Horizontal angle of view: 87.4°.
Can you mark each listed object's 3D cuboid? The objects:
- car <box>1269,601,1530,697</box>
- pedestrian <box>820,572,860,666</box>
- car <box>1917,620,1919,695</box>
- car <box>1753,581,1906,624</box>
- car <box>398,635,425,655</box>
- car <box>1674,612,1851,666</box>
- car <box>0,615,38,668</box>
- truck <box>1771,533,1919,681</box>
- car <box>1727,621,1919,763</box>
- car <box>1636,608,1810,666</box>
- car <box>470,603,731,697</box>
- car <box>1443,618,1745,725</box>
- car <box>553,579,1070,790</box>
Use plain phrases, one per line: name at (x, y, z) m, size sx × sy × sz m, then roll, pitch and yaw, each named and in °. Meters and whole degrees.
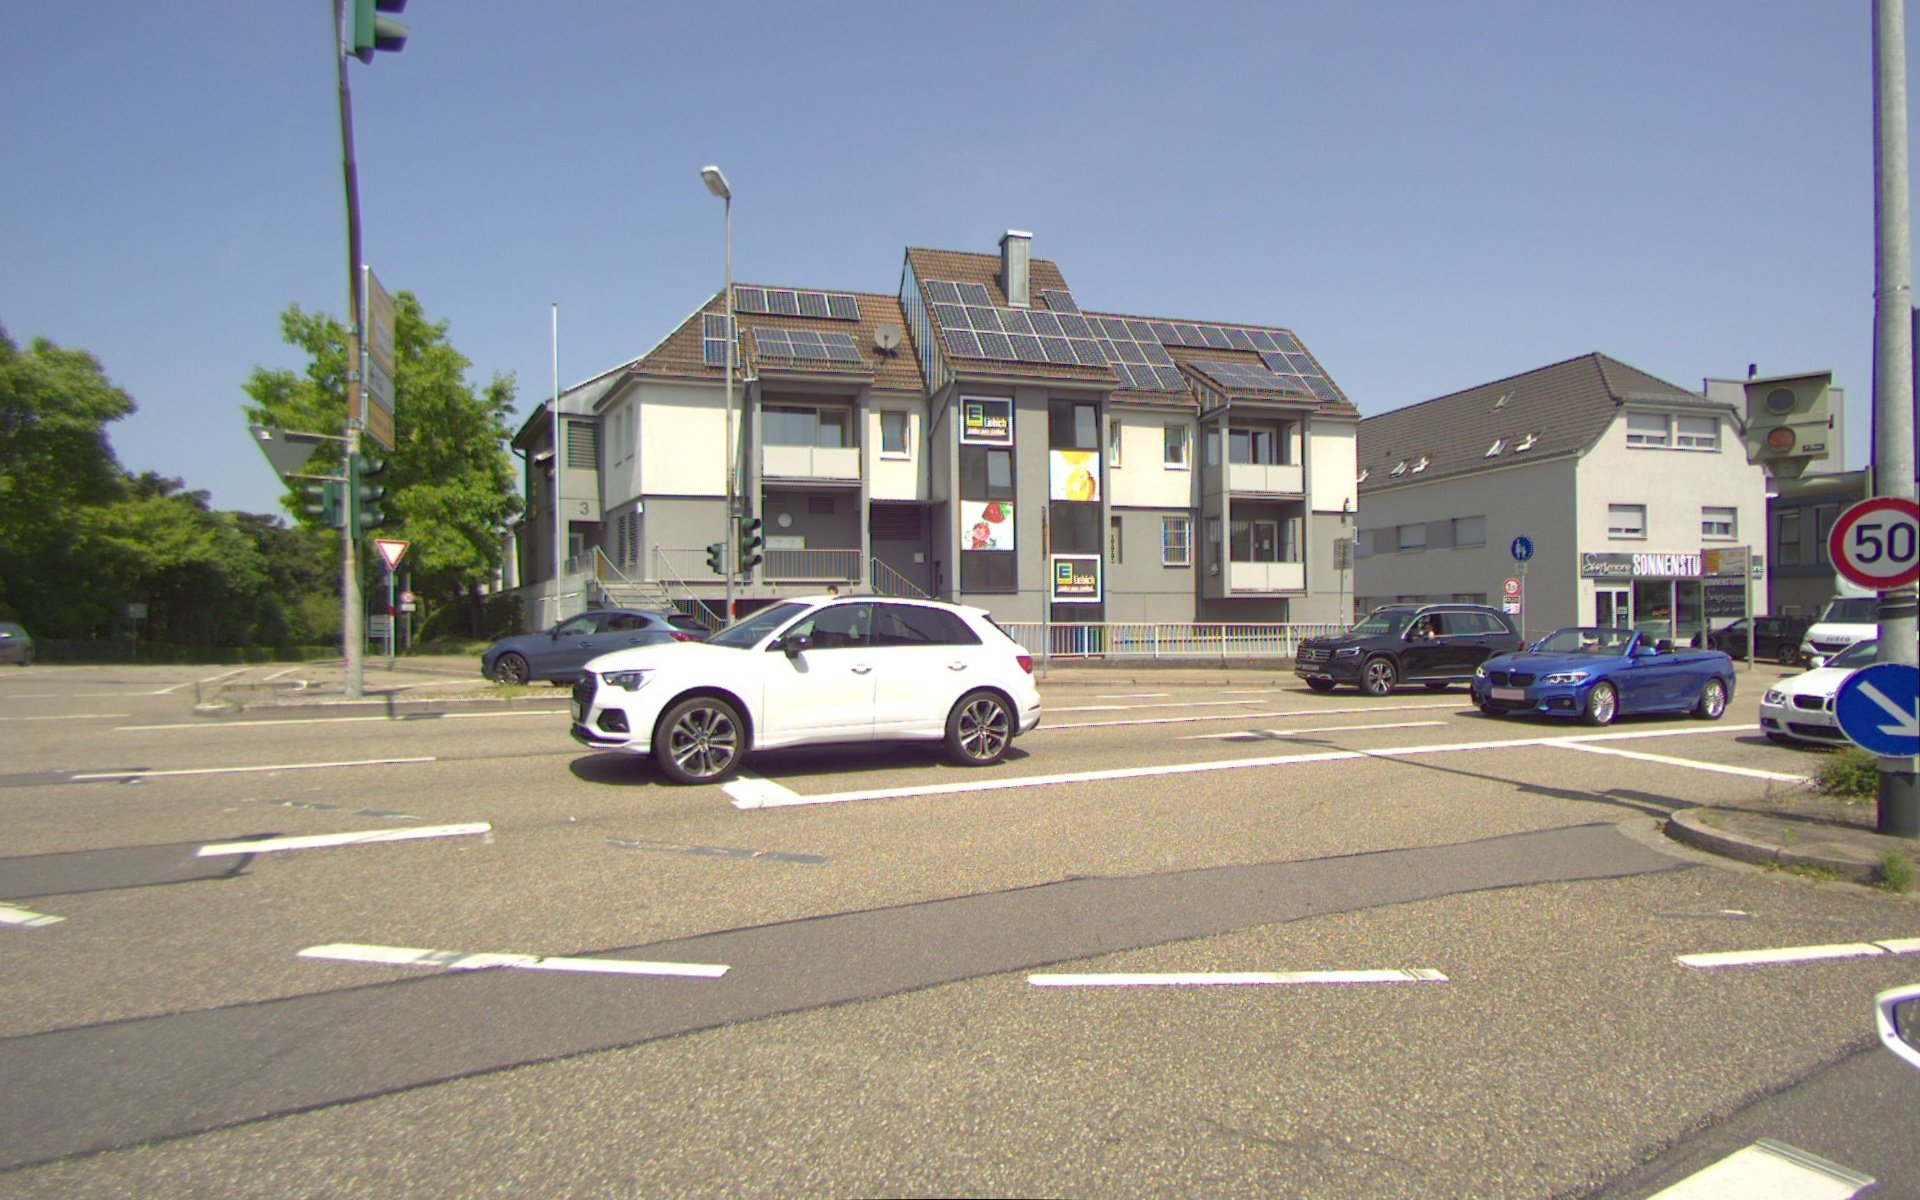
car at (8.465, 0.894, 19.393) m, size 4.524 × 1.678 × 1.991 m, roll 1°, pitch 0°, yaw -20°
pedestrian at (-2.629, 0.404, 22.003) m, size 0.735 × 2.041 × 0.499 m, roll -1°, pitch 1°, yaw -33°
car at (21.243, 1.170, 19.953) m, size 4.516 × 1.459 × 1.795 m, roll 1°, pitch 0°, yaw -27°
car at (33.619, 0.135, 38.985) m, size 1.969 × 1.541 × 4.052 m, roll 1°, pitch -2°, yaw -19°
car at (-55.780, 4.559, 102.187) m, size 1.972 × 1.927 × 3.977 m, roll 1°, pitch -1°, yaw -24°
car at (28.446, 1.326, 35.790) m, size 1.728 × 1.517 × 4.591 m, roll 0°, pitch 3°, yaw -24°
car at (-31.892, 1.341, 32.504) m, size 1.739 × 1.631 × 4.730 m, roll 2°, pitch 0°, yaw -27°
truck at (24.362, 0.274, 25.889) m, size 6.936 × 3.463 × 2.260 m, roll 2°, pitch 0°, yaw -22°
car at (11.782, 1.025, 12.379) m, size 4.683 × 1.450 × 1.856 m, roll 1°, pitch 0°, yaw -27°
car at (26.428, 1.230, 35.025) m, size 1.824 × 1.649 × 4.603 m, roll 1°, pitch 2°, yaw -17°
car at (-6.403, 0.854, 18.047) m, size 4.184 × 1.468 × 1.497 m, roll 1°, pitch -1°, yaw 10°
car at (9.490, 1.027, 14.996) m, size 4.290 × 1.384 × 1.856 m, roll 2°, pitch -1°, yaw -26°
car at (-1.316, 0.685, 9.494) m, size 4.501 × 1.591 × 1.809 m, roll 1°, pitch -1°, yaw -30°
